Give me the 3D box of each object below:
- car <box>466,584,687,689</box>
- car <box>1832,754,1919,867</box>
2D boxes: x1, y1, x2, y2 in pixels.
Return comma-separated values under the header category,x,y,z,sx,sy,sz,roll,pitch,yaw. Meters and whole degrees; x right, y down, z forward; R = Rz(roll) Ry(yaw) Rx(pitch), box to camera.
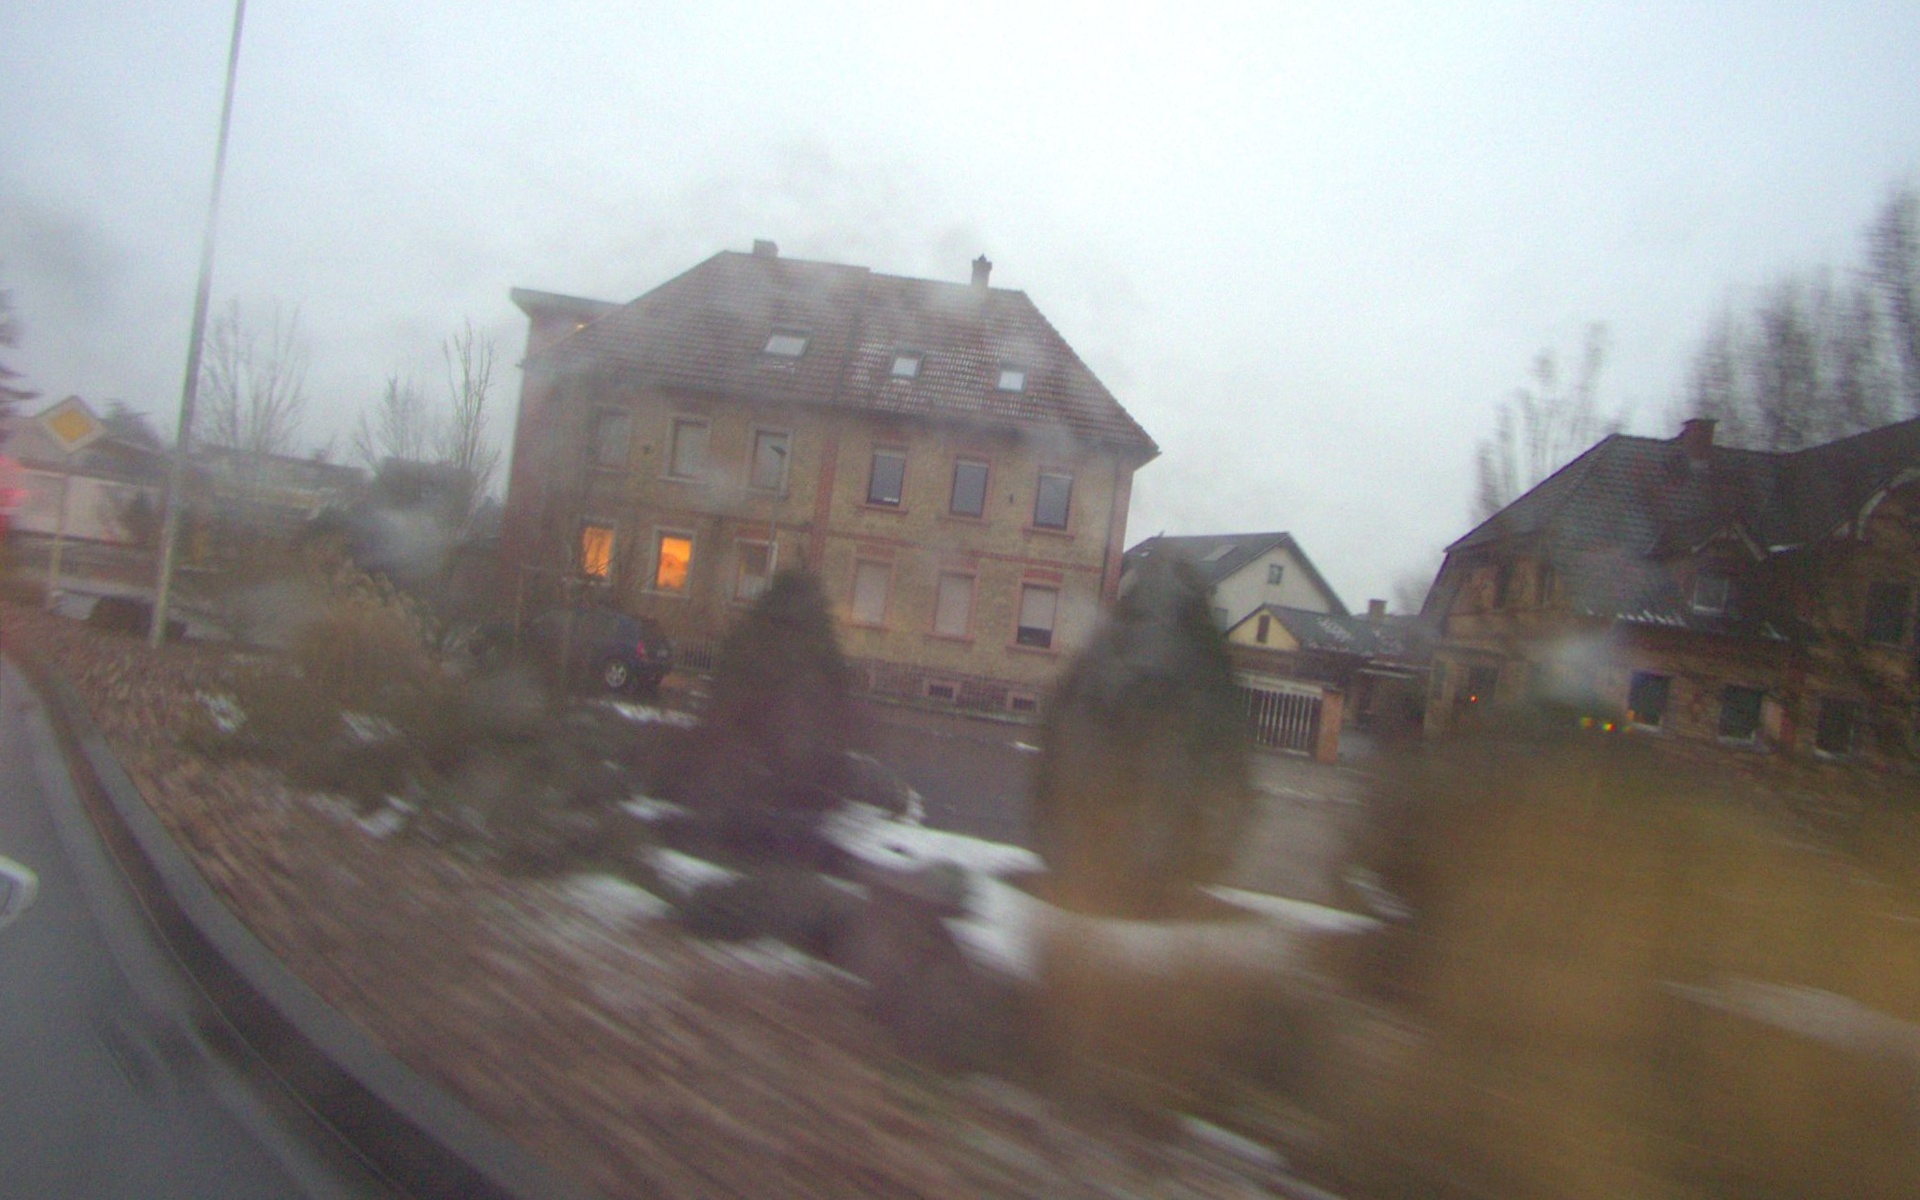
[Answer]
category,x,y,z,sx,sy,sz,roll,pitch,yaw
car,-7.145,0.686,18.892,3.512,1.399,1.288,8,-1,5
car,21.171,4.509,20.012,5.230,1.888,2.369,7,0,6
